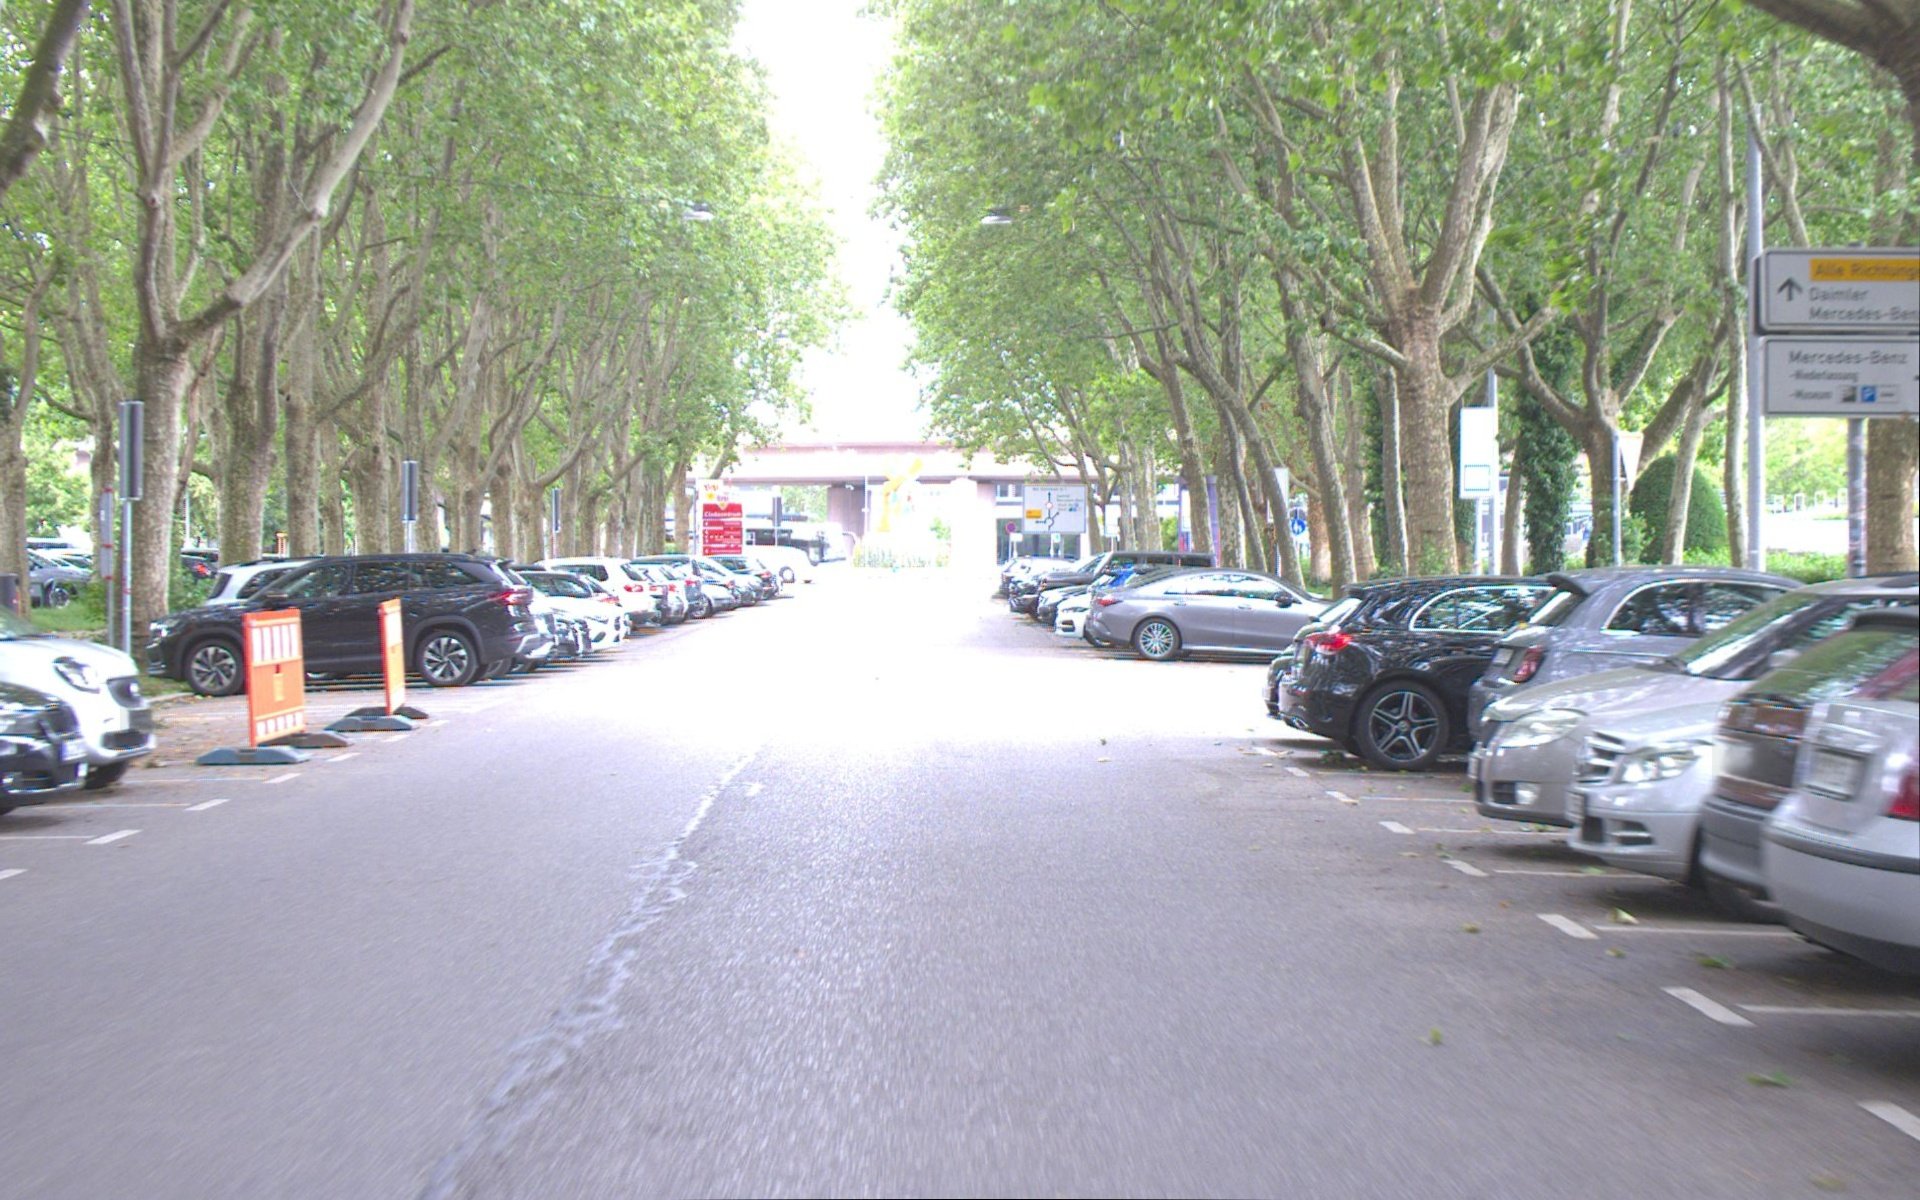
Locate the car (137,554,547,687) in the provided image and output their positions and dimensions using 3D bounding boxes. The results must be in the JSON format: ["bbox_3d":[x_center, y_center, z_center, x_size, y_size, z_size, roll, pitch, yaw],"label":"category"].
[{"bbox_3d":[-7.519,0.231,42.173,4.664,1.422,2.000,-2,1,-2],"label":"car"}]

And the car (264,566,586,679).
[{"bbox_3d":[-7.347,0.294,47.513,4.166,1.376,1.871,-2,1,-2],"label":"car"}]

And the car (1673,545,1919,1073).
[{"bbox_3d":[4.245,0.587,10.416,3.645,1.419,1.986,1,1,-4],"label":"car"}]

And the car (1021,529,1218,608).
[{"bbox_3d":[3.675,-0.747,79.781,4.376,1.745,1.731,1,1,-3],"label":"car"}]

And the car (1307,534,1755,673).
[{"bbox_3d":[6.921,0.030,41.889,4.930,1.397,2.001,3,1,-11],"label":"car"}]

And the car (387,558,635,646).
[{"bbox_3d":[-7.515,0.028,57.707,3.814,1.326,1.662,-2,1,5],"label":"car"}]

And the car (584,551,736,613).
[{"bbox_3d":[-8.076,-0.486,92.693,3.814,1.510,1.686,-2,1,5],"label":"car"}]

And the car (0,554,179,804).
[{"bbox_3d":[-7.203,0.521,22.494,3.826,1.549,1.695,-1,1,-3],"label":"car"}]

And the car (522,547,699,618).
[{"bbox_3d":[-8.156,-0.411,80.416,3.814,1.510,1.686,-2,1,5],"label":"car"}]

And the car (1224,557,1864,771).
[{"bbox_3d":[4.548,0.479,27.267,4.659,1.447,1.926,2,1,-2],"label":"car"}]

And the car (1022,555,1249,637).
[{"bbox_3d":[3.306,-0.095,64.484,4.176,1.437,1.731,1,1,4],"label":"car"}]

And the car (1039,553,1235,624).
[{"bbox_3d":[3.817,-0.254,74.524,4.048,1.463,1.731,1,1,-3],"label":"car"}]

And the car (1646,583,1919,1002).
[{"bbox_3d":[4.454,0.694,12.765,3.424,1.419,1.519,1,1,-4],"label":"car"}]

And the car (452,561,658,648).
[{"bbox_3d":[-8.215,0.086,69.920,3.814,1.597,1.785,-2,1,5],"label":"car"}]

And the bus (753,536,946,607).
[{"bbox_3d":[-6.490,-1.623,200.542,11.591,3.957,2.451,-1,0,29],"label":"bus"}]

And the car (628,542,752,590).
[{"bbox_3d":[-8.783,-1.117,112.071,3.814,1.510,1.686,1,1,3],"label":"car"}]

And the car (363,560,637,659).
[{"bbox_3d":[-6.972,0.133,52.277,3.814,1.349,1.662,-2,1,5],"label":"car"}]

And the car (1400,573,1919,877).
[{"bbox_3d":[4.221,0.621,17.586,3.678,1.419,1.519,1,1,-2],"label":"car"}]

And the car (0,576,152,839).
[{"bbox_3d":[-7.004,0.634,19.762,4.332,1.425,1.695,-1,1,-3],"label":"car"}]

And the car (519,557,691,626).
[{"bbox_3d":[-8.516,-0.205,82.608,3.814,1.510,1.686,-2,1,5],"label":"car"}]

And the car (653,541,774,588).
[{"bbox_3d":[-8.177,-1.175,114.231,3.814,1.510,1.686,1,1,3],"label":"car"}]

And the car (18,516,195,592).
[{"bbox_3d":[-23.878,-1.303,96.290,4.352,2.008,2.175,1,1,3],"label":"car"}]

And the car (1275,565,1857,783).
[{"bbox_3d":[4.363,0.517,25.121,3.918,1.447,1.556,1,1,-2],"label":"car"}]

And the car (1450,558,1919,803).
[{"bbox_3d":[5.117,0.516,22.882,3.424,1.503,1.556,1,1,-2],"label":"car"}]

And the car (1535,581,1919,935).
[{"bbox_3d":[4.356,0.676,15.026,3.425,1.419,1.519,1,1,2],"label":"car"}]

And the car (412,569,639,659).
[{"bbox_3d":[-7.931,0.249,62.875,3.814,1.479,1.662,-2,1,5],"label":"car"}]

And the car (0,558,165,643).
[{"bbox_3d":[-22.766,-0.012,86.260,5.078,2.008,2.175,1,1,3],"label":"car"}]

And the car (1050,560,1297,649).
[{"bbox_3d":[3.692,0.067,59.433,4.176,1.437,1.731,1,1,4],"label":"car"}]

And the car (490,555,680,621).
[{"bbox_3d":[-8.172,-0.264,75.032,3.814,1.292,1.785,-2,1,5],"label":"car"}]

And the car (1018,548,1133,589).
[{"bbox_3d":[4.487,-1.221,133.900,4.376,1.517,1.731,1,1,0],"label":"car"}]

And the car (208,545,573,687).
[{"bbox_3d":[-7.402,0.188,44.981,4.471,1.671,1.762,-2,1,-2],"label":"car"}]

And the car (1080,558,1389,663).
[{"bbox_3d":[4.159,0.138,52.307,4.575,1.481,2.000,1,1,4],"label":"car"}]

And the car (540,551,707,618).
[{"bbox_3d":[-8.283,-0.383,84.808,3.814,1.510,1.686,-2,1,5],"label":"car"}]
